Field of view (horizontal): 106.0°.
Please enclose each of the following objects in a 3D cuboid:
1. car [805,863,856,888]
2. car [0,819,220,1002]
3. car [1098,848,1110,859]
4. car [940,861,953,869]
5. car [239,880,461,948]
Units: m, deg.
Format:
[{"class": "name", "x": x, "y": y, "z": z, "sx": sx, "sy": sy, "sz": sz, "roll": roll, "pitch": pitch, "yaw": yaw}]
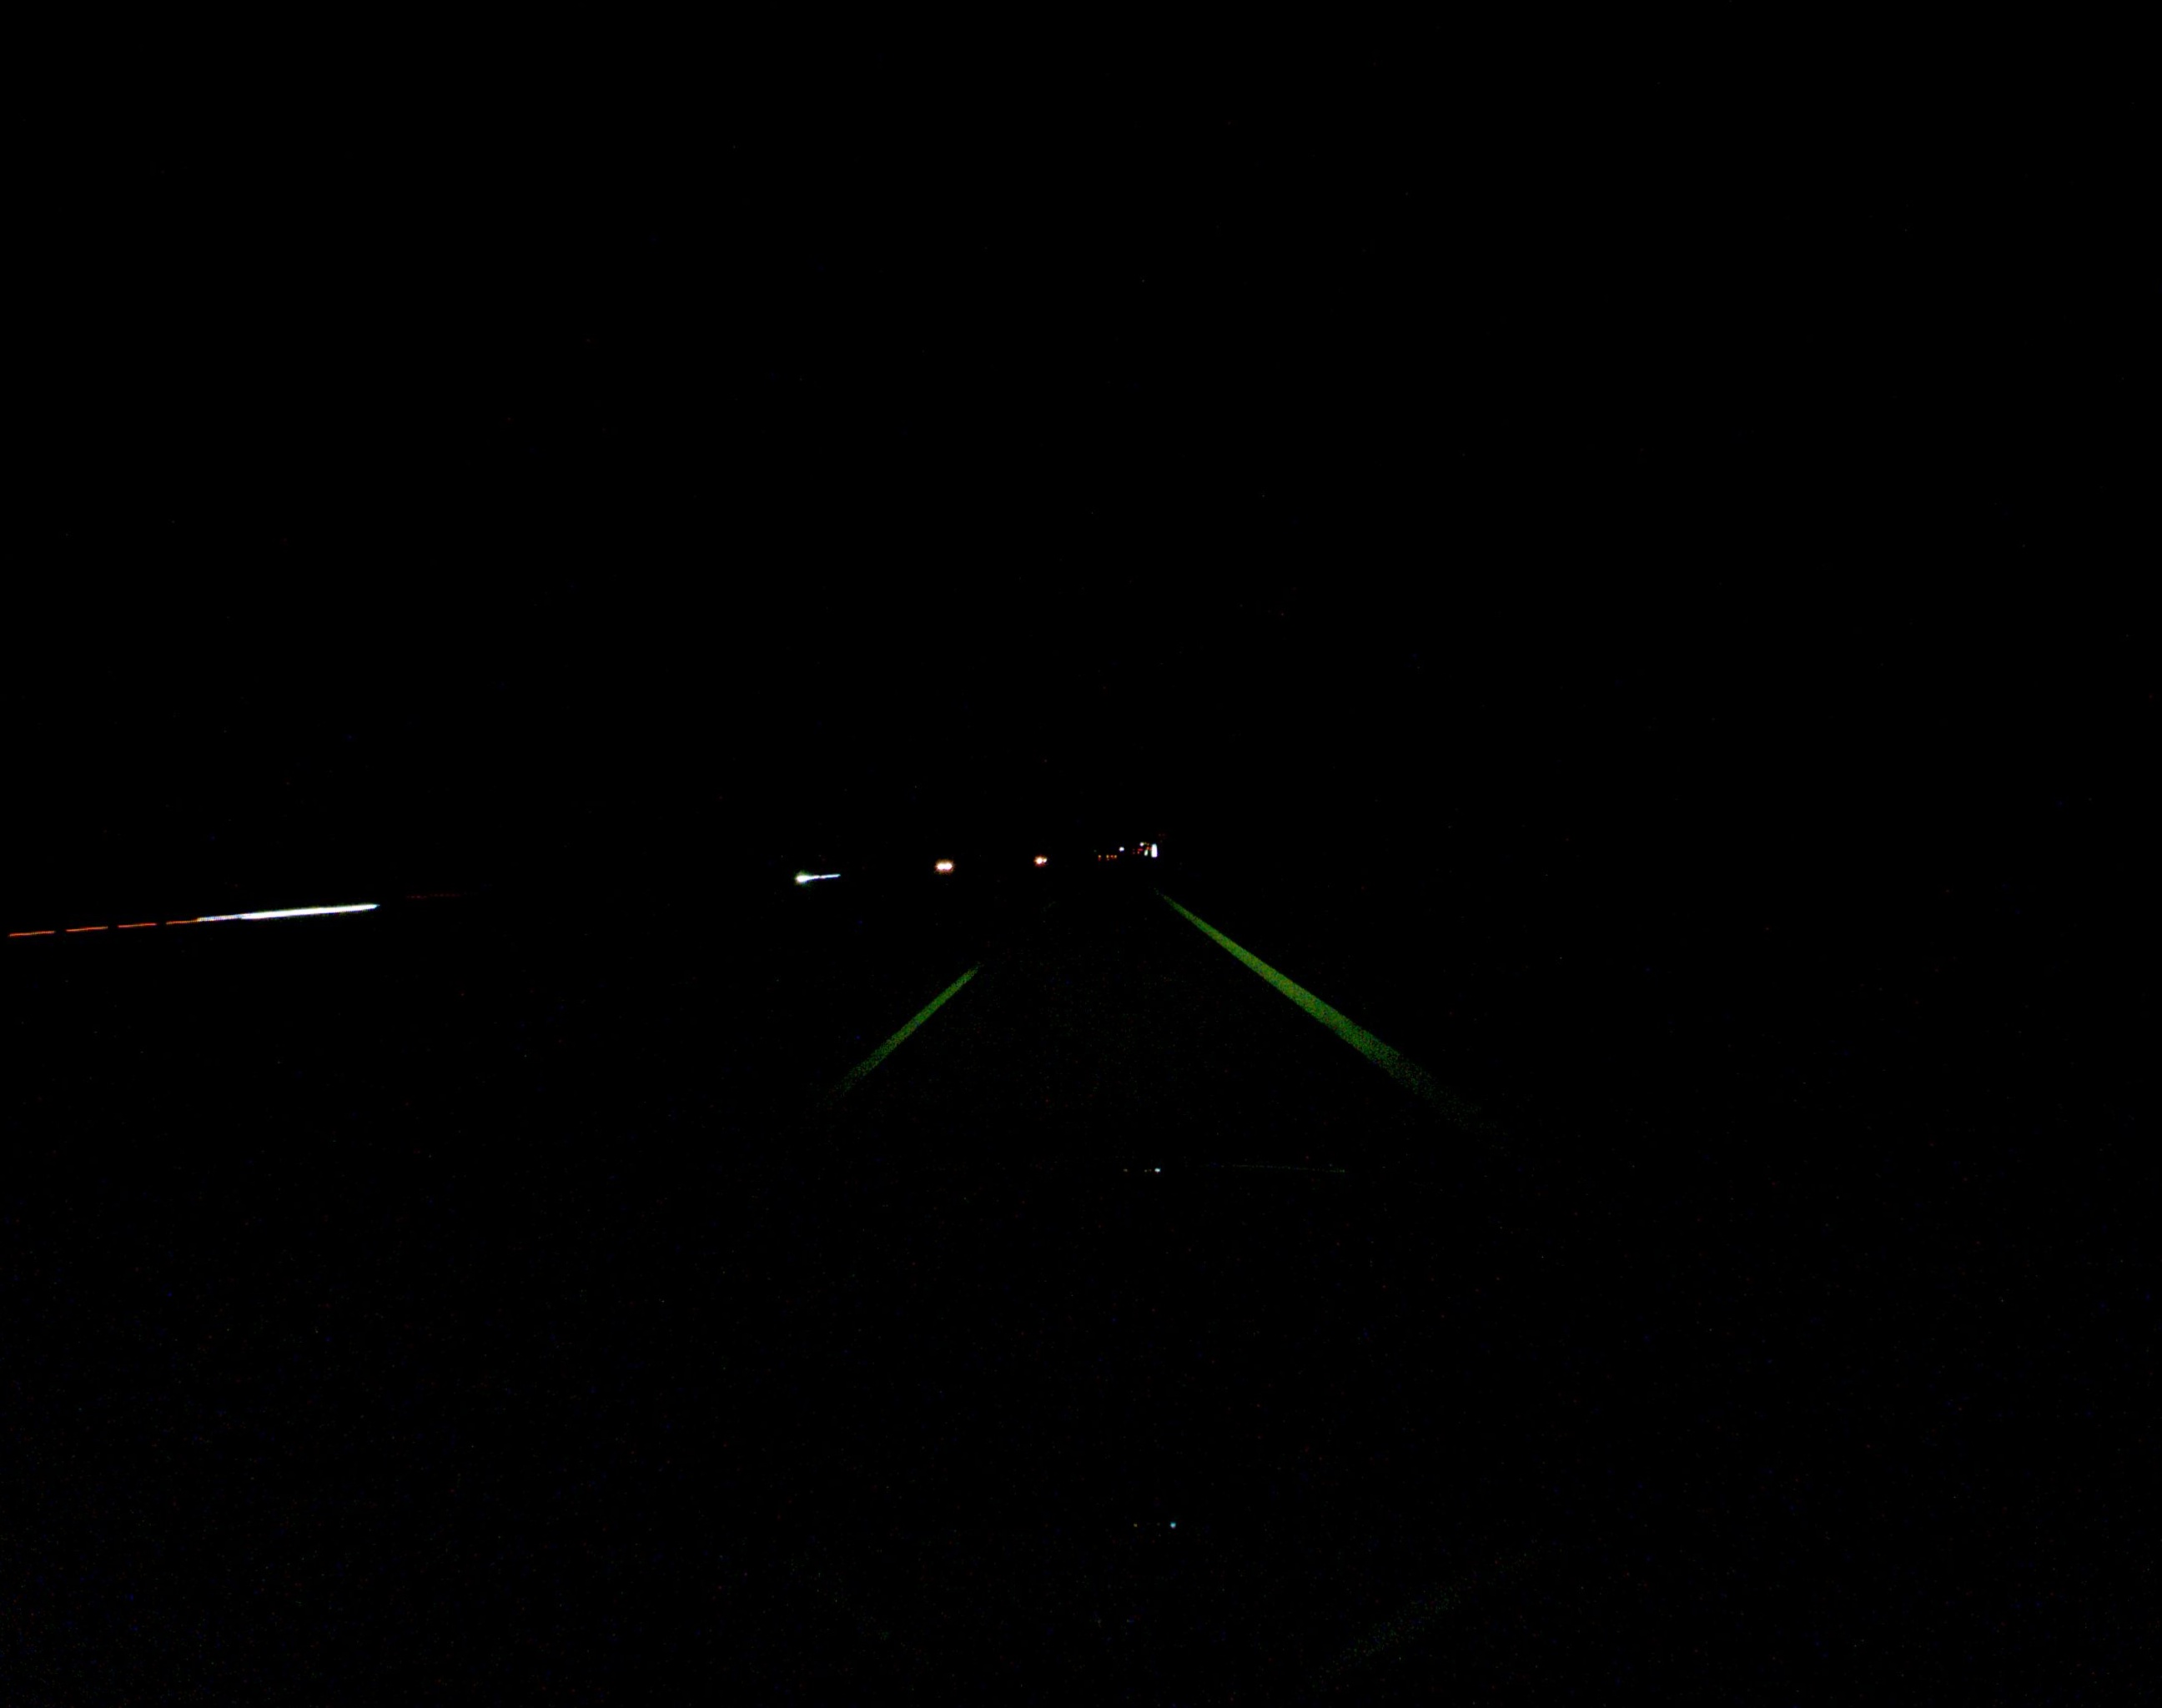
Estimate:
[{"class": "car", "x": -16.801, "y": 1.431, "z": 54.846, "sx": 1.854, "sy": 1.497, "sz": 4.707, "roll": -1, "pitch": 0, "yaw": 2}, {"class": "car", "x": -18.376, "y": 0.915, "z": 12.029, "sx": 2.943, "sy": 2.857, "sz": 7.719, "roll": -1, "pitch": 0, "yaw": 1}, {"class": "car", "x": 5.370, "y": -0.142, "z": 189.765, "sx": 2.501, "sy": 2.314, "sz": 4.974, "roll": -2, "pitch": 0, "yaw": 3}, {"class": "car", "x": -24.281, "y": 1.980, "z": 147.145, "sx": 1.587, "sy": 1.264, "sz": 3.999, "roll": -2, "pitch": 0, "yaw": 0}, {"class": "car", "x": -21.627, "y": 1.687, "z": 24.492, "sx": 2.044, "sy": 1.598, "sz": 5.076, "roll": -1, "pitch": 0, "yaw": 0}]
